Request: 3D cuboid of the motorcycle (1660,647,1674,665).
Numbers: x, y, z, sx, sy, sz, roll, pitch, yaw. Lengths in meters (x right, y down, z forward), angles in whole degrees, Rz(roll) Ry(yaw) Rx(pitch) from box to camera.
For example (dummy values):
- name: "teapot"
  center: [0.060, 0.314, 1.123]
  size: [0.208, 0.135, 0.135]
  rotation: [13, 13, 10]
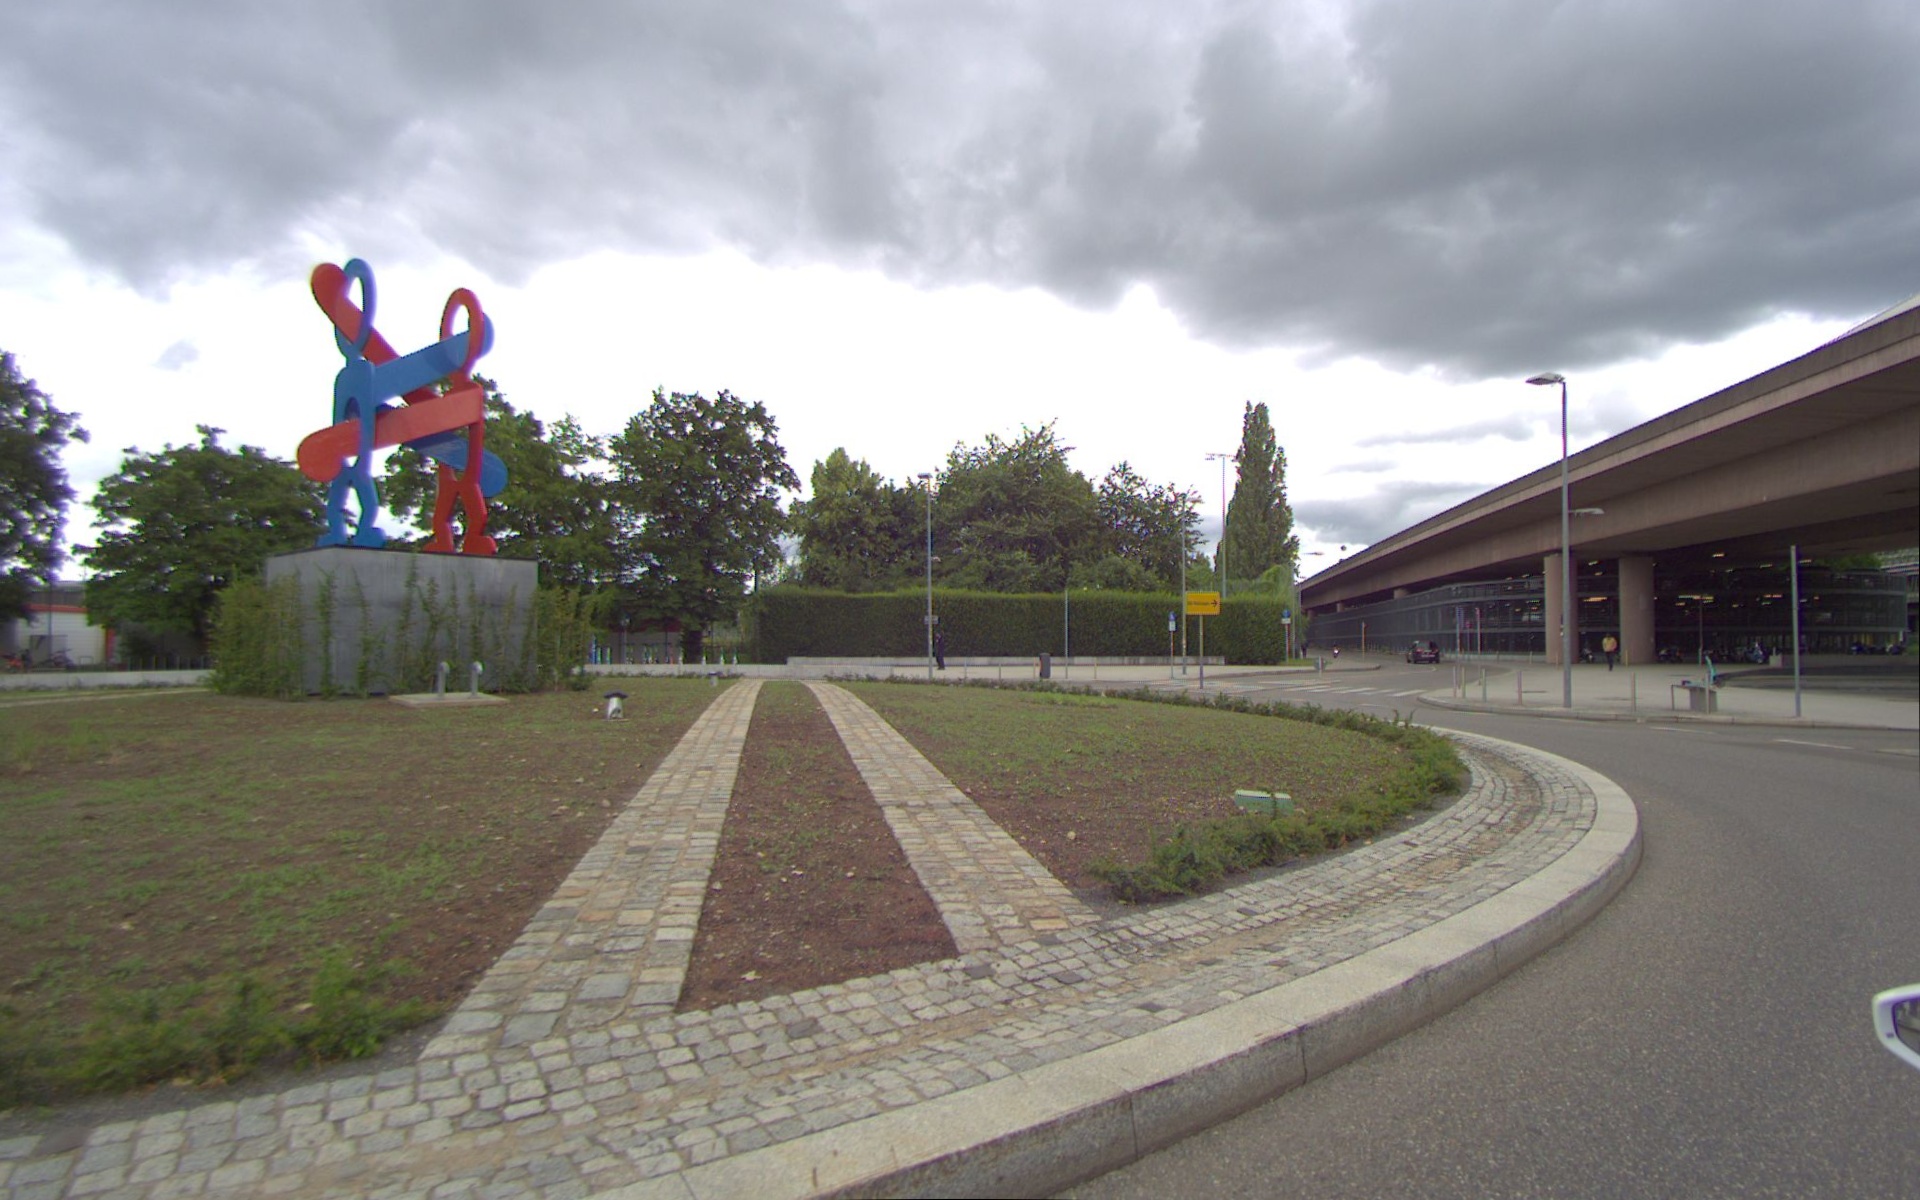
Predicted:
- name: "motorcycle"
  center: [47.634, 3.796, 67.671]
  size: [1.141, 1.186, 0.516]
  rotation: [4, -4, -41]

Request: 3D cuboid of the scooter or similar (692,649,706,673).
- name: "scooter or similar"
  center: [-13.227, 3.075, 50.836]
  size: [0.629, 1.124, 1.971]
  rotation: [-1, -1, -13]

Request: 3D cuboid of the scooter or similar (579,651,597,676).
- name: "scooter or similar"
  center: [-18.333, 3.117, 49.528]
  size: [0.629, 1.124, 1.971]
  rotation: [-1, -1, -13]

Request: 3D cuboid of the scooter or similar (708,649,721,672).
- name: "scooter or similar"
  center: [-12.462, 3.064, 51.034]
  size: [0.629, 1.124, 1.971]
  rotation: [-1, -1, -13]

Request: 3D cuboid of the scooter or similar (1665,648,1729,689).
- name: "scooter or similar"
  center: [24.256, 2.239, 33.081]
  size: [1.619, 1.313, 0.518]
  rotation: [-2, -1, 29]

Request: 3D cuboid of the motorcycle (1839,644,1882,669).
- name: "motorcycle"
  center: [47.499, 2.966, 52.990]
  size: [1.905, 1.281, 0.547]
  rotation: [-1, -1, -9]

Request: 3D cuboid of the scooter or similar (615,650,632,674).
- name: "scooter or similar"
  center: [-16.729, 3.087, 49.926]
  size: [0.629, 1.124, 1.971]
  rotation: [-1, -1, -13]

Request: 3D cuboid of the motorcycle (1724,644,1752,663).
- name: "motorcycle"
  center: [53.623, 3.677, 69.251]
  size: [0.660, 1.236, 2.080]
  rotation: [-1, -1, 14]

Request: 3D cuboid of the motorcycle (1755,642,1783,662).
- name: "motorcycle"
  center: [55.426, 3.584, 68.805]
  size: [0.660, 1.303, 2.080]
  rotation: [-1, -1, 14]

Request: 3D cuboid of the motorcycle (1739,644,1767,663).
- name: "motorcycle"
  center: [54.485, 3.642, 69.018]
  size: [0.660, 1.236, 2.080]
  rotation: [-1, -1, 14]

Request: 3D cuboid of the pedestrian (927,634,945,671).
- name: "pedestrian"
  center: [-1.207, 2.597, 50.066]
  size: [0.848, 1.831, 0.793]
  rotation: [-1, -1, 2]

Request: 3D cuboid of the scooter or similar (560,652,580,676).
- name: "scooter or similar"
  center: [-19.146, 3.124, 49.303]
  size: [0.629, 1.124, 1.971]
  rotation: [-1, -1, -13]

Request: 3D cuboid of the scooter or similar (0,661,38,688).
- name: "scooter or similar"
  center: [-42.860, 3.382, 45.570]
  size: [0.629, 1.124, 1.971]
  rotation: [-1, -1, -13]

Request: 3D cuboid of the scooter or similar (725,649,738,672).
- name: "scooter or similar"
  center: [-11.655, 3.071, 51.228]
  size: [0.629, 1.124, 1.971]
  rotation: [-1, -1, -13]

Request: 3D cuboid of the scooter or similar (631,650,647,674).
- name: "scooter or similar"
  center: [-15.989, 3.094, 50.081]
  size: [0.629, 1.124, 1.971]
  rotation: [-1, -1, -13]

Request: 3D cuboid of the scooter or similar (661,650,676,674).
- name: "scooter or similar"
  center: [-14.649, 3.116, 50.448]
  size: [0.629, 1.124, 1.971]
  rotation: [-1, -1, -13]

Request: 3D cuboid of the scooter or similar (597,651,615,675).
- name: "scooter or similar"
  center: [-17.503, 3.105, 49.742]
  size: [0.629, 1.124, 1.971]
  rotation: [-1, -1, -13]

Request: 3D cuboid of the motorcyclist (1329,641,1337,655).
- name: "motorcyclist"
  center: [39.125, 5.021, 105.370]
  size: [0.749, 1.438, 0.870]
  rotation: [-1, -1, 17]

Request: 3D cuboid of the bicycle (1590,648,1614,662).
- name: "bicycle"
  center: [47.548, 4.093, 74.400]
  size: [1.454, 0.989, 0.450]
  rotation: [-2, -2, 39]

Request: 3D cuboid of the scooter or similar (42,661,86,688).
- name: "scooter or similar"
  center: [-40.820, 3.363, 45.790]
  size: [0.629, 1.124, 1.971]
  rotation: [-1, -1, -13]

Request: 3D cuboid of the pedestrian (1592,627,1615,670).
- name: "pedestrian"
  center: [31.282, 2.354, 48.822]
  size: [0.770, 2.040, 1.039]
  rotation: [-1, -1, 25]

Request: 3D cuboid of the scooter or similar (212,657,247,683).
- name: "scooter or similar"
  center: [-34.169, 3.278, 47.016]
  size: [0.629, 1.124, 1.971]
  rotation: [-1, -1, -13]

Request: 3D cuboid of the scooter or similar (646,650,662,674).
- name: "scooter or similar"
  center: [-15.316, 3.097, 50.267]
  size: [0.629, 1.124, 1.971]
  rotation: [-1, -1, -13]

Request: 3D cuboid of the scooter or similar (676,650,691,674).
- name: "scooter or similar"
  center: [-13.920, 3.095, 50.627]
  size: [0.629, 1.124, 1.971]
  rotation: [-1, -1, -13]

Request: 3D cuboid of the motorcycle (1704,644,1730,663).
- name: "motorcycle"
  center: [52.536, 3.713, 69.708]
  size: [0.660, 1.236, 2.080]
  rotation: [-1, -1, 14]

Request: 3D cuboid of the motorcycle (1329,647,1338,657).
- name: "motorcycle"
  center: [39.153, 5.426, 105.431]
  size: [0.733, 1.036, 1.957]
  rotation: [-1, -1, 17]

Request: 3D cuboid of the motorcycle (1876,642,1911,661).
- name: "motorcycle"
  center: [63.768, 3.518, 68.609]
  size: [0.660, 1.236, 2.365]
  rotation: [-1, -1, 14]

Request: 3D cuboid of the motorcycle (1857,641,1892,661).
- name: "motorcycle"
  center: [62.388, 3.484, 68.534]
  size: [0.660, 1.292, 2.365]
  rotation: [-1, -1, 14]

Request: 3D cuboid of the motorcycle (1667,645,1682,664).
- name: "motorcycle"
  center: [50.080, 3.810, 70.386]
  size: [0.819, 1.236, 2.072]
  rotation: [-2, -2, 35]

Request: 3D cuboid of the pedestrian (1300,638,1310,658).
- name: "pedestrian"
  center: [32.085, 4.486, 93.473]
  size: [0.790, 1.804, 0.920]
  rotation: [-1, -1, 18]

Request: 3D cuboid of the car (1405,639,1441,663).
- name: "car"
  center: [35.607, 3.940, 77.298]
  size: [1.808, 1.734, 3.707]
  rotation: [-1, -1, 13]
